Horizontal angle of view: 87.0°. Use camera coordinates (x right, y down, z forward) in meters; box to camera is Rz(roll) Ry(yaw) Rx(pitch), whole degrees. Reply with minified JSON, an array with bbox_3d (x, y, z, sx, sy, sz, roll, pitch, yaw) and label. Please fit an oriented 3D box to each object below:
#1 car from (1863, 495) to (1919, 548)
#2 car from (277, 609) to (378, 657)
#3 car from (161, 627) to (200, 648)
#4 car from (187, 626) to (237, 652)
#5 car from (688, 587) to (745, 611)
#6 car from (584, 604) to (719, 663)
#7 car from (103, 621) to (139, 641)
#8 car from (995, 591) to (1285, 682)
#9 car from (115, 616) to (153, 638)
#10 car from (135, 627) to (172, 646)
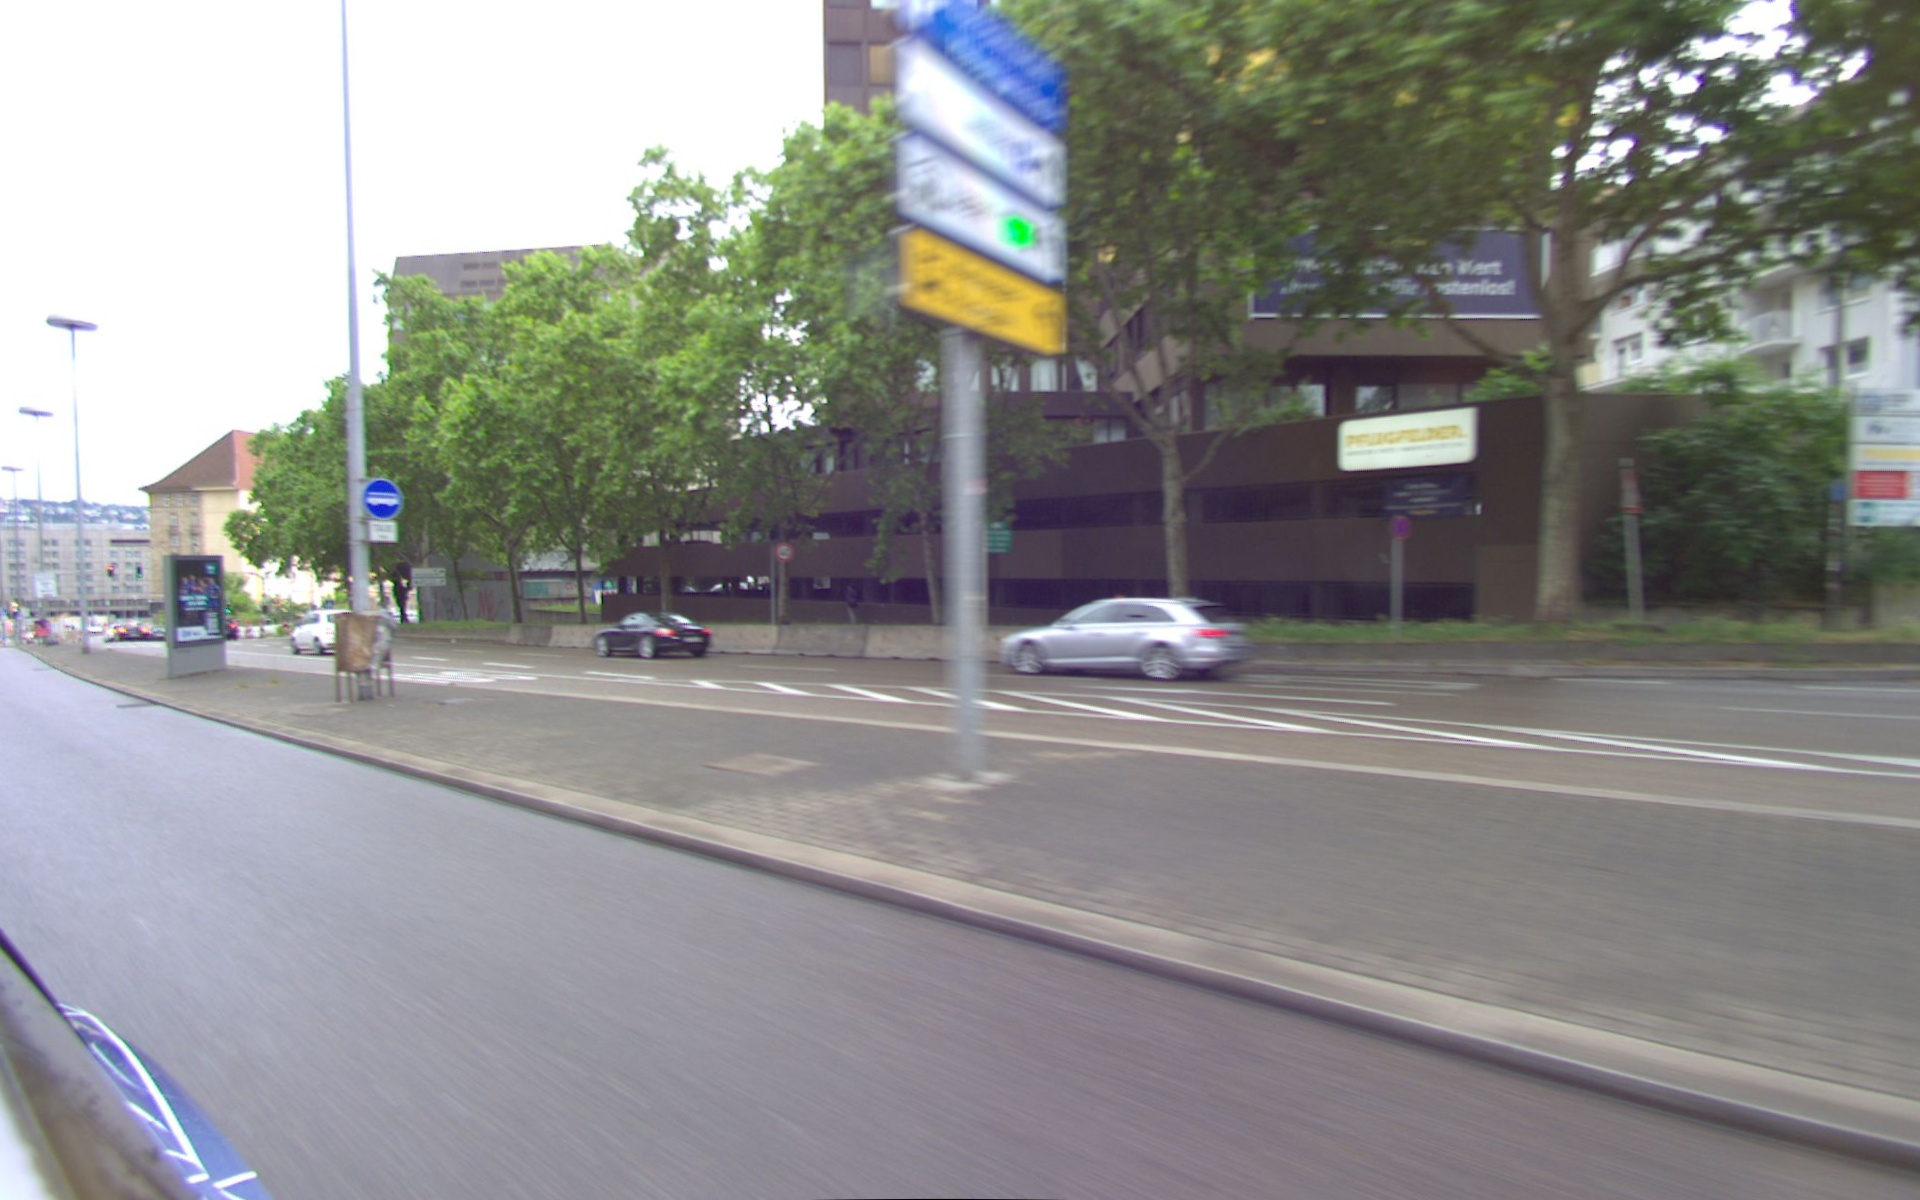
[{"bbox_3d":[29.793,-2.366,29.922,1.970,1.586,4.493,-2,3,-4],"label":"car"},{"bbox_3d":[-21.358,1.084,34.147,3.736,1.530,1.737,-1,0,38],"label":"car"},{"bbox_3d":[-57.398,2.740,74.495,1.910,1.447,4.080,0,-1,-43],"label":"car"},{"bbox_3d":[-46.215,2.386,62.514,1.911,1.511,4.175,0,-2,-45],"label":"car"},{"bbox_3d":[-18.367,-0.086,76.430,3.931,1.730,2.006,-1,0,-20],"label":"car"},{"bbox_3d":[-8.681,0.910,28.318,4.169,1.530,1.735,-1,-1,42],"label":"car"},{"bbox_3d":[-65.386,2.384,78.850,1.773,1.497,3.866,0,0,-45],"label":"car"},{"bbox_3d":[3.172,0.614,18.464,4.877,1.458,1.974,-1,0,40],"label":"car"},{"bbox_3d":[-60.537,1.933,74.167,1.774,1.497,3.866,-2,1,-45],"label":"car"},{"bbox_3d":[-67.419,3.050,84.563,1.911,1.447,4.509,0,-1,-45],"label":"car"}]
